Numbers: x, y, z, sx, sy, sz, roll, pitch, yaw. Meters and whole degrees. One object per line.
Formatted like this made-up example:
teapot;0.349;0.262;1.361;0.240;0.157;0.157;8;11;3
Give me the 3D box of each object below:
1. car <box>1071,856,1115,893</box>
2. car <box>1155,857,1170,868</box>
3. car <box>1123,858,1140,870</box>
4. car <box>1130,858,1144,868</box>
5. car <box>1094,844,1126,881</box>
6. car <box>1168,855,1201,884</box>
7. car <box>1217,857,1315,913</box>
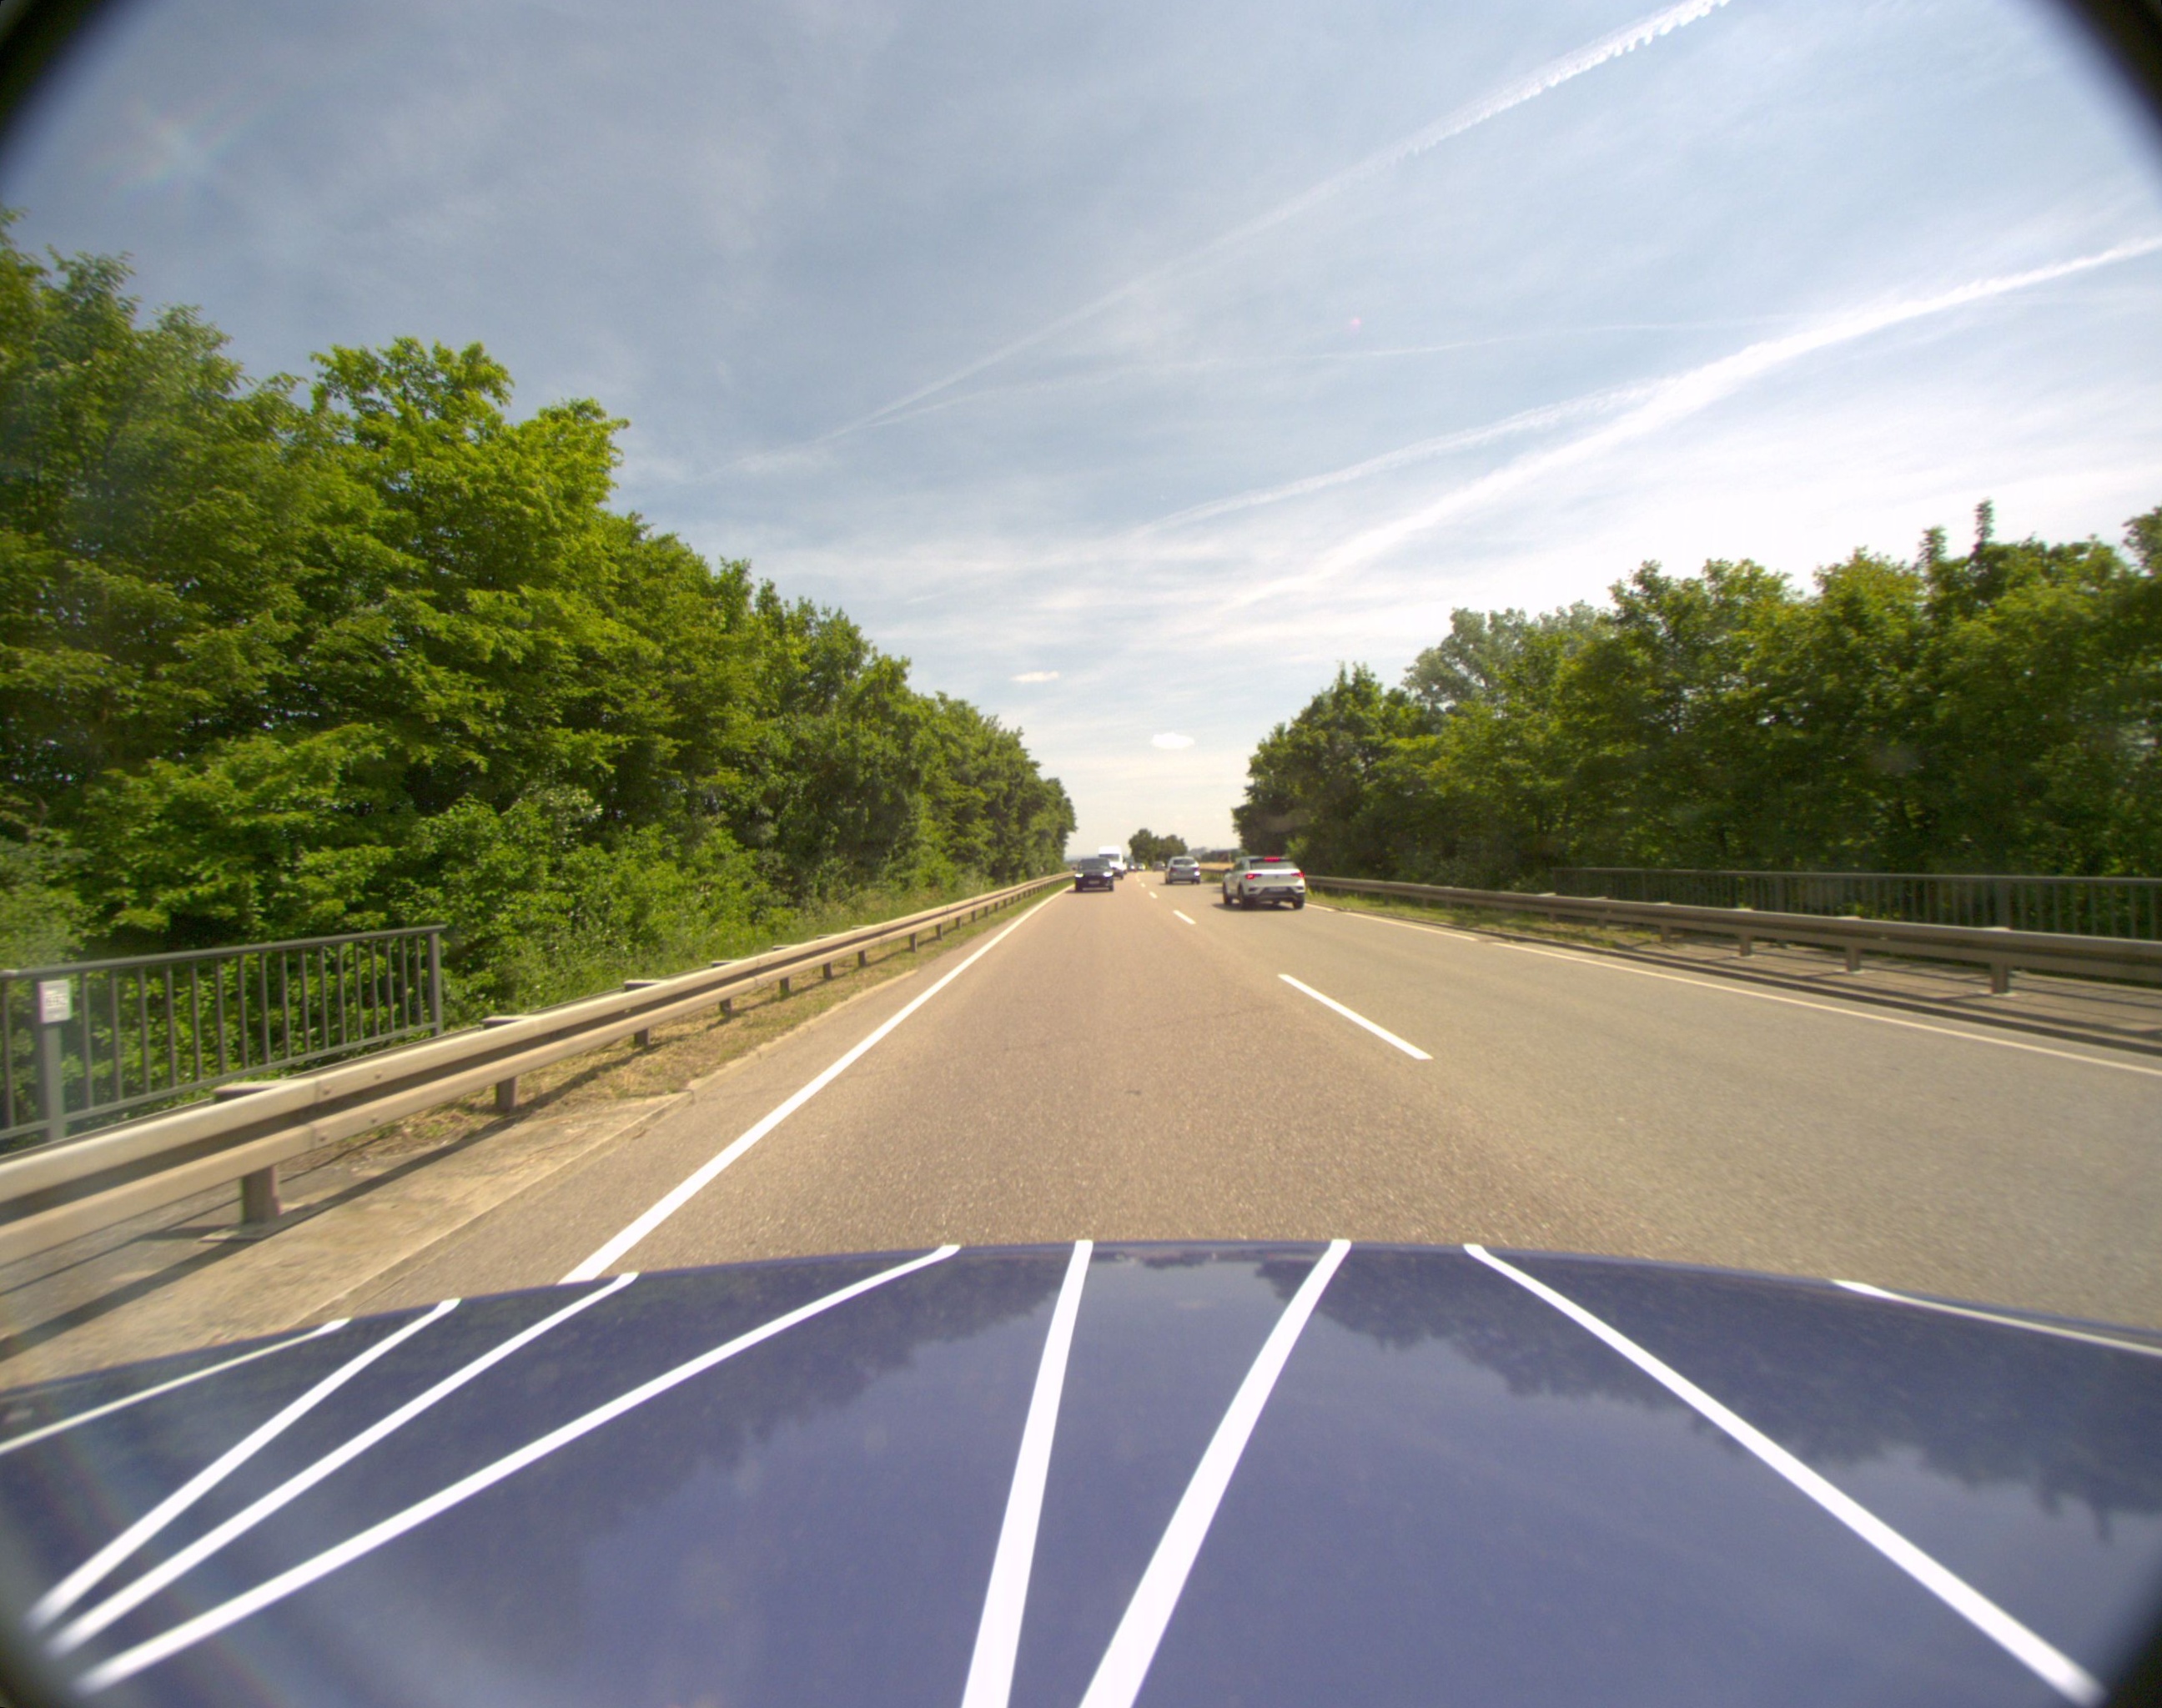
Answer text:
car;0.680;0.939;37.917;2.038;1.691;5.514;0;0;3
car;12.192;1.279;113.529;1.747;1.458;5.131;-1;0;10
car;7.254;1.372;108.757;2.038;1.641;4.747;-1;0;8
car;9.422;1.526;126.838;2.038;1.641;4.747;-1;0;8
car;2.363;0.632;60.245;2.225;2.618;5.753;-2;2;4
car;6.027;0.868;44.661;1.663;1.542;4.339;-1;0;5
car;5.503;0.875;23.214;1.884;1.502;4.543;-1;0;0
